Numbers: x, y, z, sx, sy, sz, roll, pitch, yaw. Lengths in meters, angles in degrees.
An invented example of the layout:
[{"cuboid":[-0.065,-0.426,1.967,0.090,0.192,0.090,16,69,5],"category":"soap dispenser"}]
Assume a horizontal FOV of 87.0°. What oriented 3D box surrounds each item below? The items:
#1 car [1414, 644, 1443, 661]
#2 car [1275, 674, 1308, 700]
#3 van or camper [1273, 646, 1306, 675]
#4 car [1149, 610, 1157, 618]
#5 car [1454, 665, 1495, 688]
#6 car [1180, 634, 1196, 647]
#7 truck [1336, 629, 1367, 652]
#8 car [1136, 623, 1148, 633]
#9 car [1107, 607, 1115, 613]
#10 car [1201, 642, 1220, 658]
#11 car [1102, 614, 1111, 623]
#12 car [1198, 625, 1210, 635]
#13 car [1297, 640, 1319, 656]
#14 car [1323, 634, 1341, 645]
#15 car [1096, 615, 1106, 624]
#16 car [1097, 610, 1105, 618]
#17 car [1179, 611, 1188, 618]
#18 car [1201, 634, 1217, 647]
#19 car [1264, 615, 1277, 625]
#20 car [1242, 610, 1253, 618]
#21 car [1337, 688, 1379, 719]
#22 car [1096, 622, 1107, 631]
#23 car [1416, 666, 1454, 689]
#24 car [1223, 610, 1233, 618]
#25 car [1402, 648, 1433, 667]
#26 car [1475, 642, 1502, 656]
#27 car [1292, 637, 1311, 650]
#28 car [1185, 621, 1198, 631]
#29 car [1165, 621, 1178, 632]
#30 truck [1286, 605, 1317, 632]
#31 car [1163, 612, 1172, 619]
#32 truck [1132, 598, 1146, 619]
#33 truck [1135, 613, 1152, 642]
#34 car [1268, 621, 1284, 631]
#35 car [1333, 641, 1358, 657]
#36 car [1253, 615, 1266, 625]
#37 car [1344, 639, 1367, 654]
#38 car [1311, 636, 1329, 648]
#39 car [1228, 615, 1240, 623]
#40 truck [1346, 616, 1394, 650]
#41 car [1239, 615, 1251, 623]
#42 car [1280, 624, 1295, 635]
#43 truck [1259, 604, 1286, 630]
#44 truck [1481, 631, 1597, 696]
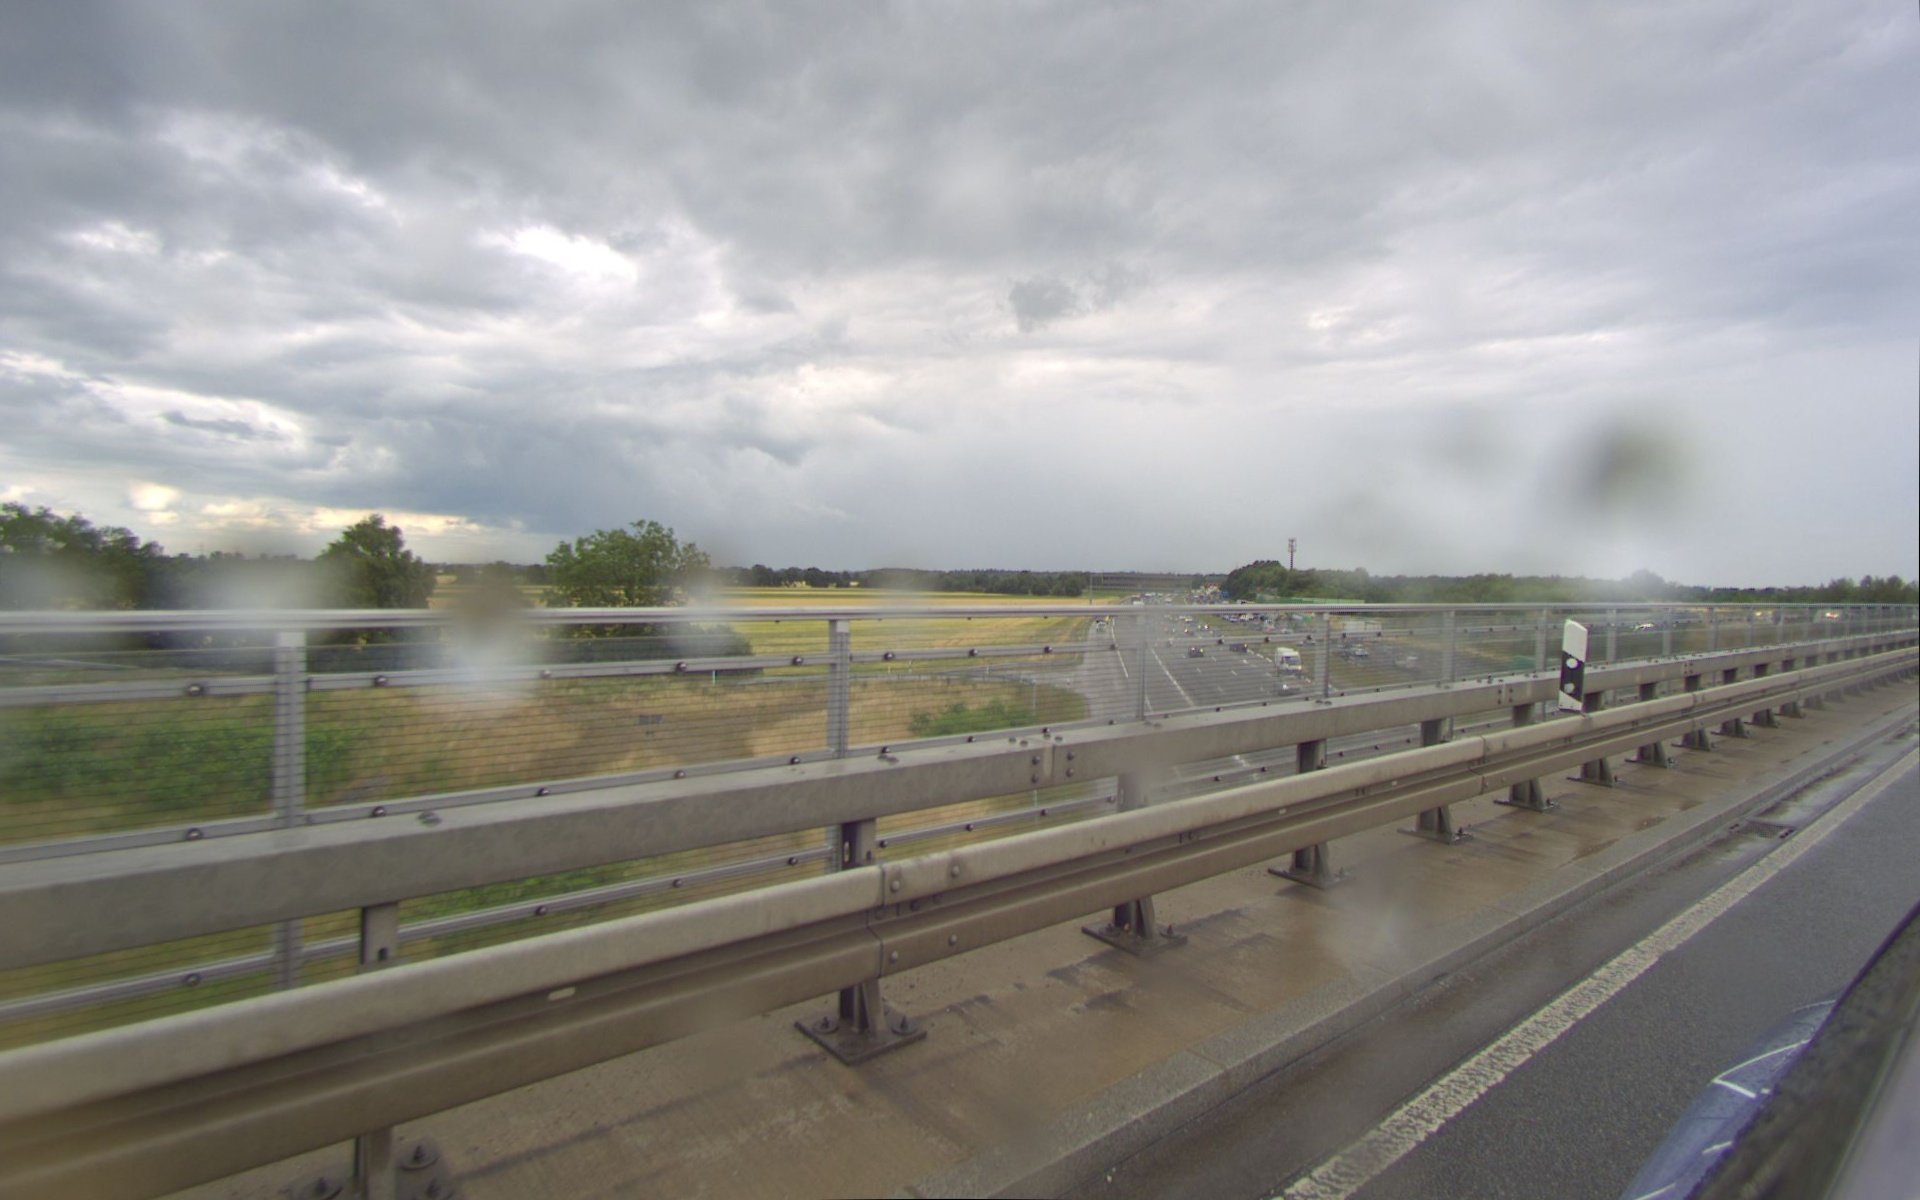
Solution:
[{"cuboid":[55.446,6.161,119.759,1.826,1.690,4.712,0,0,9],"category":"car"},{"cuboid":[27.430,7.158,83.761,1.784,1.690,4.713,0,0,8],"category":"car"},{"cuboid":[34.030,6.186,104.648,2.026,2.481,7.312,0,0,9],"category":"van or camper"},{"cuboid":[47.638,3.453,249.477,1.826,1.690,4.712,0,0,9],"category":"car"},{"cuboid":[46.008,6.844,90.621,1.826,1.690,4.712,0,0,9],"category":"car"},{"cuboid":[32.793,5.861,145.766,1.826,1.690,4.712,0,0,9],"category":"car"},{"cuboid":[56.949,5.823,147.350,2.176,3.003,9.285,0,0,9],"category":"truck"},{"cuboid":[30.138,4.574,167.530,1.784,1.454,4.714,0,0,8],"category":"car"},{"cuboid":[36.414,2.449,243.439,1.784,1.454,4.714,0,0,8],"category":"car"},{"cuboid":[30.618,6.100,123.674,1.826,1.690,4.712,0,0,9],"category":"car"},{"cuboid":[28.304,3.538,195.319,1.826,1.690,4.712,0,0,9],"category":"car"},{"cuboid":[45.428,5.516,188.742,1.826,1.690,4.712,0,0,9],"category":"car"},{"cuboid":[43.346,5.994,126.067,1.826,1.690,4.712,0,0,9],"category":"car"},{"cuboid":[60.153,6.379,163.686,1.826,1.690,4.712,0,0,9],"category":"car"},{"cuboid":[29.308,4.031,210.342,1.826,1.690,4.712,0,0,9],"category":"car"},{"cuboid":[31.318,3.174,224.456,1.826,1.690,4.712,0,0,9],"category":"car"},{"cuboid":[53.185,3.463,240.713,1.826,1.690,4.712,0,0,9],"category":"car"},{"cuboid":[35.841,5.847,145.787,1.826,1.690,4.712,0,0,9],"category":"car"},{"cuboid":[61.943,3.924,201.837,1.826,1.797,4.712,0,0,9],"category":"car"},{"cuboid":[68.418,3.400,240.914,1.826,1.797,4.712,0,0,9],"category":"car"},{"cuboid":[29.098,7.549,74.097,1.784,1.690,4.713,0,0,8],"category":"car"},{"cuboid":[24.184,4.550,173.055,1.784,1.454,4.714,0,0,8],"category":"car"},{"cuboid":[42.539,6.898,90.730,1.826,1.690,4.712,0,0,9],"category":"car"},{"cuboid":[65.127,3.402,246.196,1.826,1.797,4.712,0,0,9],"category":"car"},{"cuboid":[49.568,6.225,109.639,1.826,1.690,4.712,0,0,9],"category":"car"},{"cuboid":[71.125,6.556,136.239,1.826,1.690,4.712,0,0,9],"category":"car"},{"cuboid":[50.252,6.342,149.088,1.826,1.690,4.712,0,0,9],"category":"car"},{"cuboid":[39.733,4.463,174.024,1.826,1.690,4.712,0,0,9],"category":"car"},{"cuboid":[35.927,4.499,171.899,1.826,1.690,4.712,0,0,9],"category":"car"},{"cuboid":[70.821,3.784,210.183,3.241,5.230,15.593,0,0,8],"category":"truck"},{"cuboid":[48.339,3.625,235.607,1.826,1.690,4.712,0,0,9],"category":"car"},{"cuboid":[40.561,1.813,228.893,2.751,4.676,12.709,0,0,12],"category":"truck"},{"cuboid":[33.752,4.886,186.087,2.751,4.962,12.709,0,0,12],"category":"truck"},{"cuboid":[54.091,4.440,173.349,1.826,1.690,4.712,0,0,9],"category":"car"},{"cuboid":[47.198,6.010,123.937,1.826,1.690,4.712,0,0,9],"category":"car"},{"cuboid":[56.817,3.826,192.070,1.826,1.690,4.712,0,0,9],"category":"car"},{"cuboid":[50.684,5.987,129.726,1.826,1.690,4.712,0,0,9],"category":"car"},{"cuboid":[55.374,6.420,155.711,1.826,1.690,4.712,0,0,9],"category":"car"},{"cuboid":[60.187,4.194,222.341,1.826,1.797,4.712,0,0,9],"category":"car"},{"cuboid":[63.427,5.015,157.069,3.545,4.595,15.586,0,0,9],"category":"truck"},{"cuboid":[59.277,3.966,210.792,1.826,1.690,4.712,0,0,9],"category":"car"},{"cuboid":[58.314,5.262,180.356,1.826,1.690,4.712,0,0,9],"category":"car"},{"cuboid":[68.822,3.635,223.390,3.241,5.511,15.593,0,0,8],"category":"truck"},{"cuboid":[50.399,5.331,88.926,3.545,4.595,15.586,0,0,9],"category":"truck"}]
